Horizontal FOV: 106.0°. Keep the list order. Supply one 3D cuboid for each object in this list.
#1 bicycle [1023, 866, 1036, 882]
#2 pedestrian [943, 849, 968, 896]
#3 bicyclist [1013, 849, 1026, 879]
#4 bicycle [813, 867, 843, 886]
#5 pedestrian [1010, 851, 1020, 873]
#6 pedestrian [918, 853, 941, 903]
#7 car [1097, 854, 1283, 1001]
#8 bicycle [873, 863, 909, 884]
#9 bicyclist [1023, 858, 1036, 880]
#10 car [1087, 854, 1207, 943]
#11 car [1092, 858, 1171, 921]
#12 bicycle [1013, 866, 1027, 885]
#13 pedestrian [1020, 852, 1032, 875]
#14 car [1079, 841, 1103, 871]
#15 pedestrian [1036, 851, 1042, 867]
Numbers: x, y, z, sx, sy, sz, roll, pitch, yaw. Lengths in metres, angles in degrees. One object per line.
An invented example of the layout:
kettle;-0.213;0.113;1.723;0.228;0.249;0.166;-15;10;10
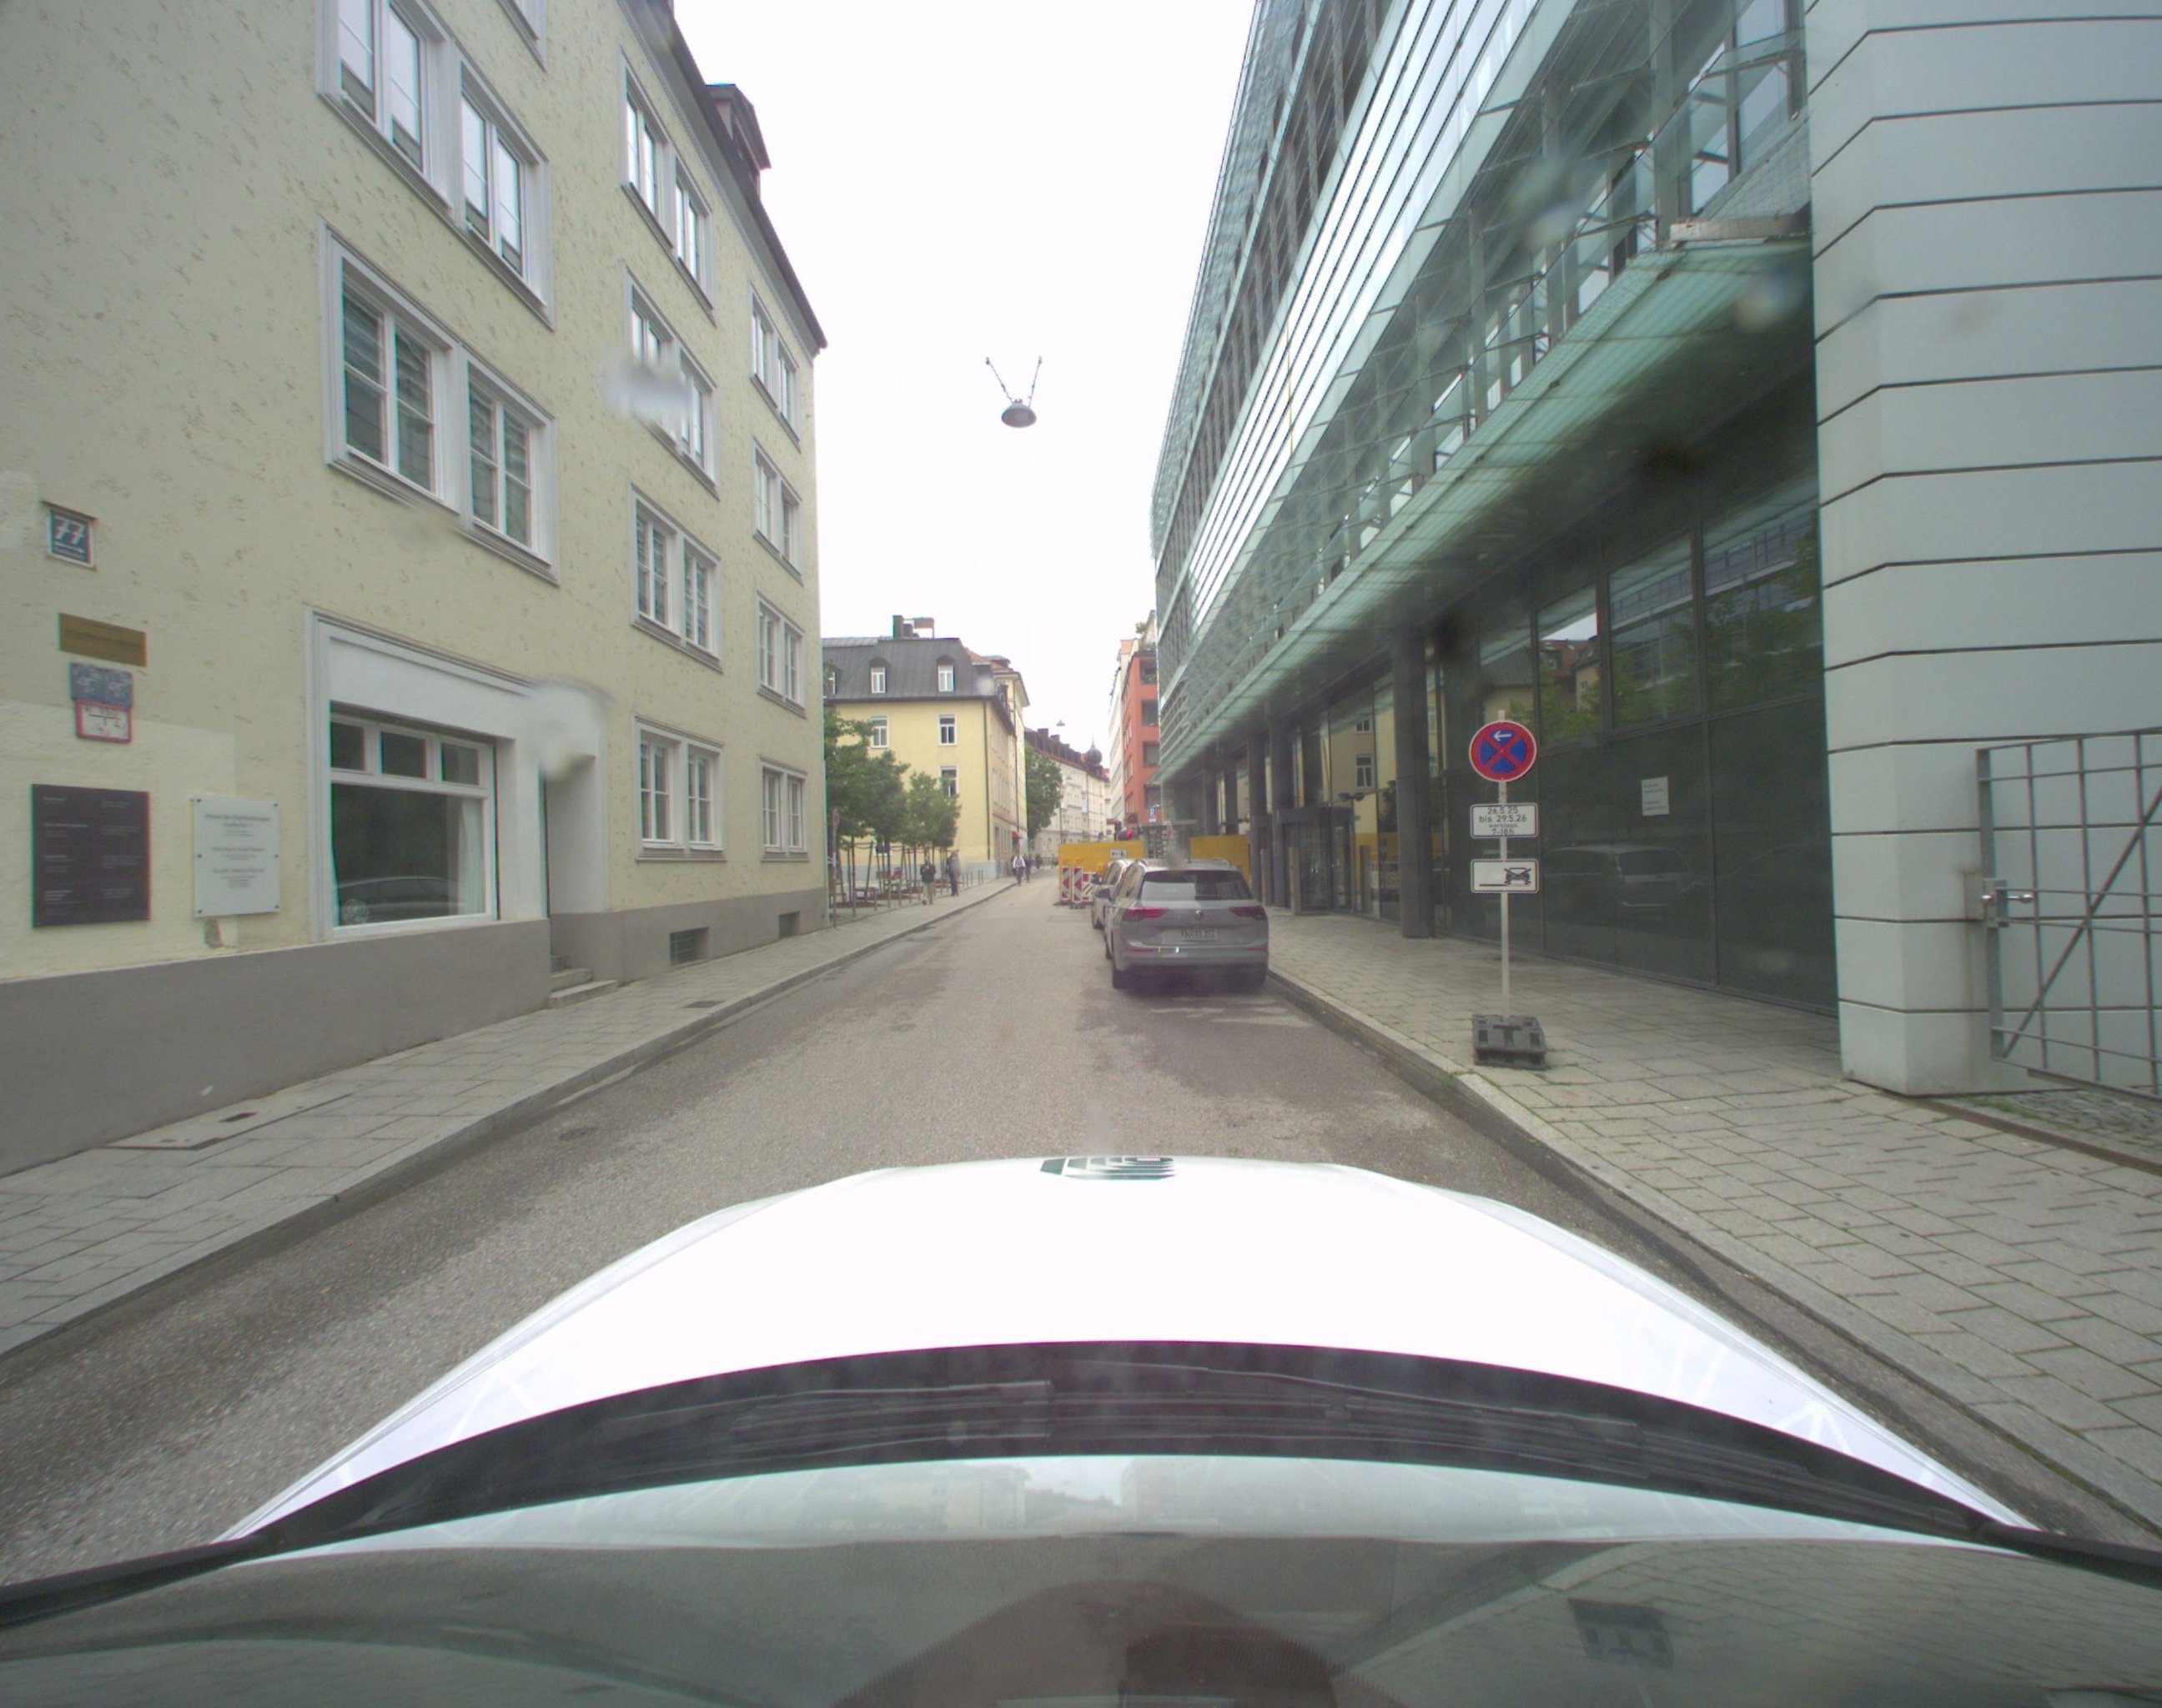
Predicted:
bicycle;-3.221;1.252;50.822;0.705;0.905;1.808;-2;0;-1
pedestrian;-5.245;0.762;34.065;0.865;1.881;1.134;-1;-1;-2
bicyclist;-3.477;0.563;46.182;0.657;1.643;0.895;-2;0;-1
bicycle;-15.312;1.355;49.306;1.649;1.069;0.598;-1;0;3
pedestrian;-5.004;0.639;61.821;0.668;1.648;0.761;-1;-1;-2
pedestrian;-5.187;0.807;27.854;0.645;1.676;0.723;-1;-1;-2
car;1.155;0.759;10.471;1.703;1.432;4.327;-2;0;-1
bicycle;-11.582;1.183;49.663;2.033;1.197;0.571;-1;0;6
bicyclist;-3.235;0.920;50.799;0.706;1.371;0.813;-2;0;-1
car;1.133;0.762;15.764;1.704;1.467;4.231;0;-1;-4
car;1.190;0.831;20.923;1.703;1.414;4.507;0;-1;-1
bicycle;-3.463;1.205;46.238;0.659;1.039;2.004;-2;0;-1
pedestrian;-4.159;0.689;61.576;0.837;1.700;0.802;-1;-1;-1
car;0.867;0.171;73.039;1.988;2.536;4.972;-1;0;-1
pedestrian;-4.447;0.485;86.300;0.633;1.675;0.517;-1;0;-1
